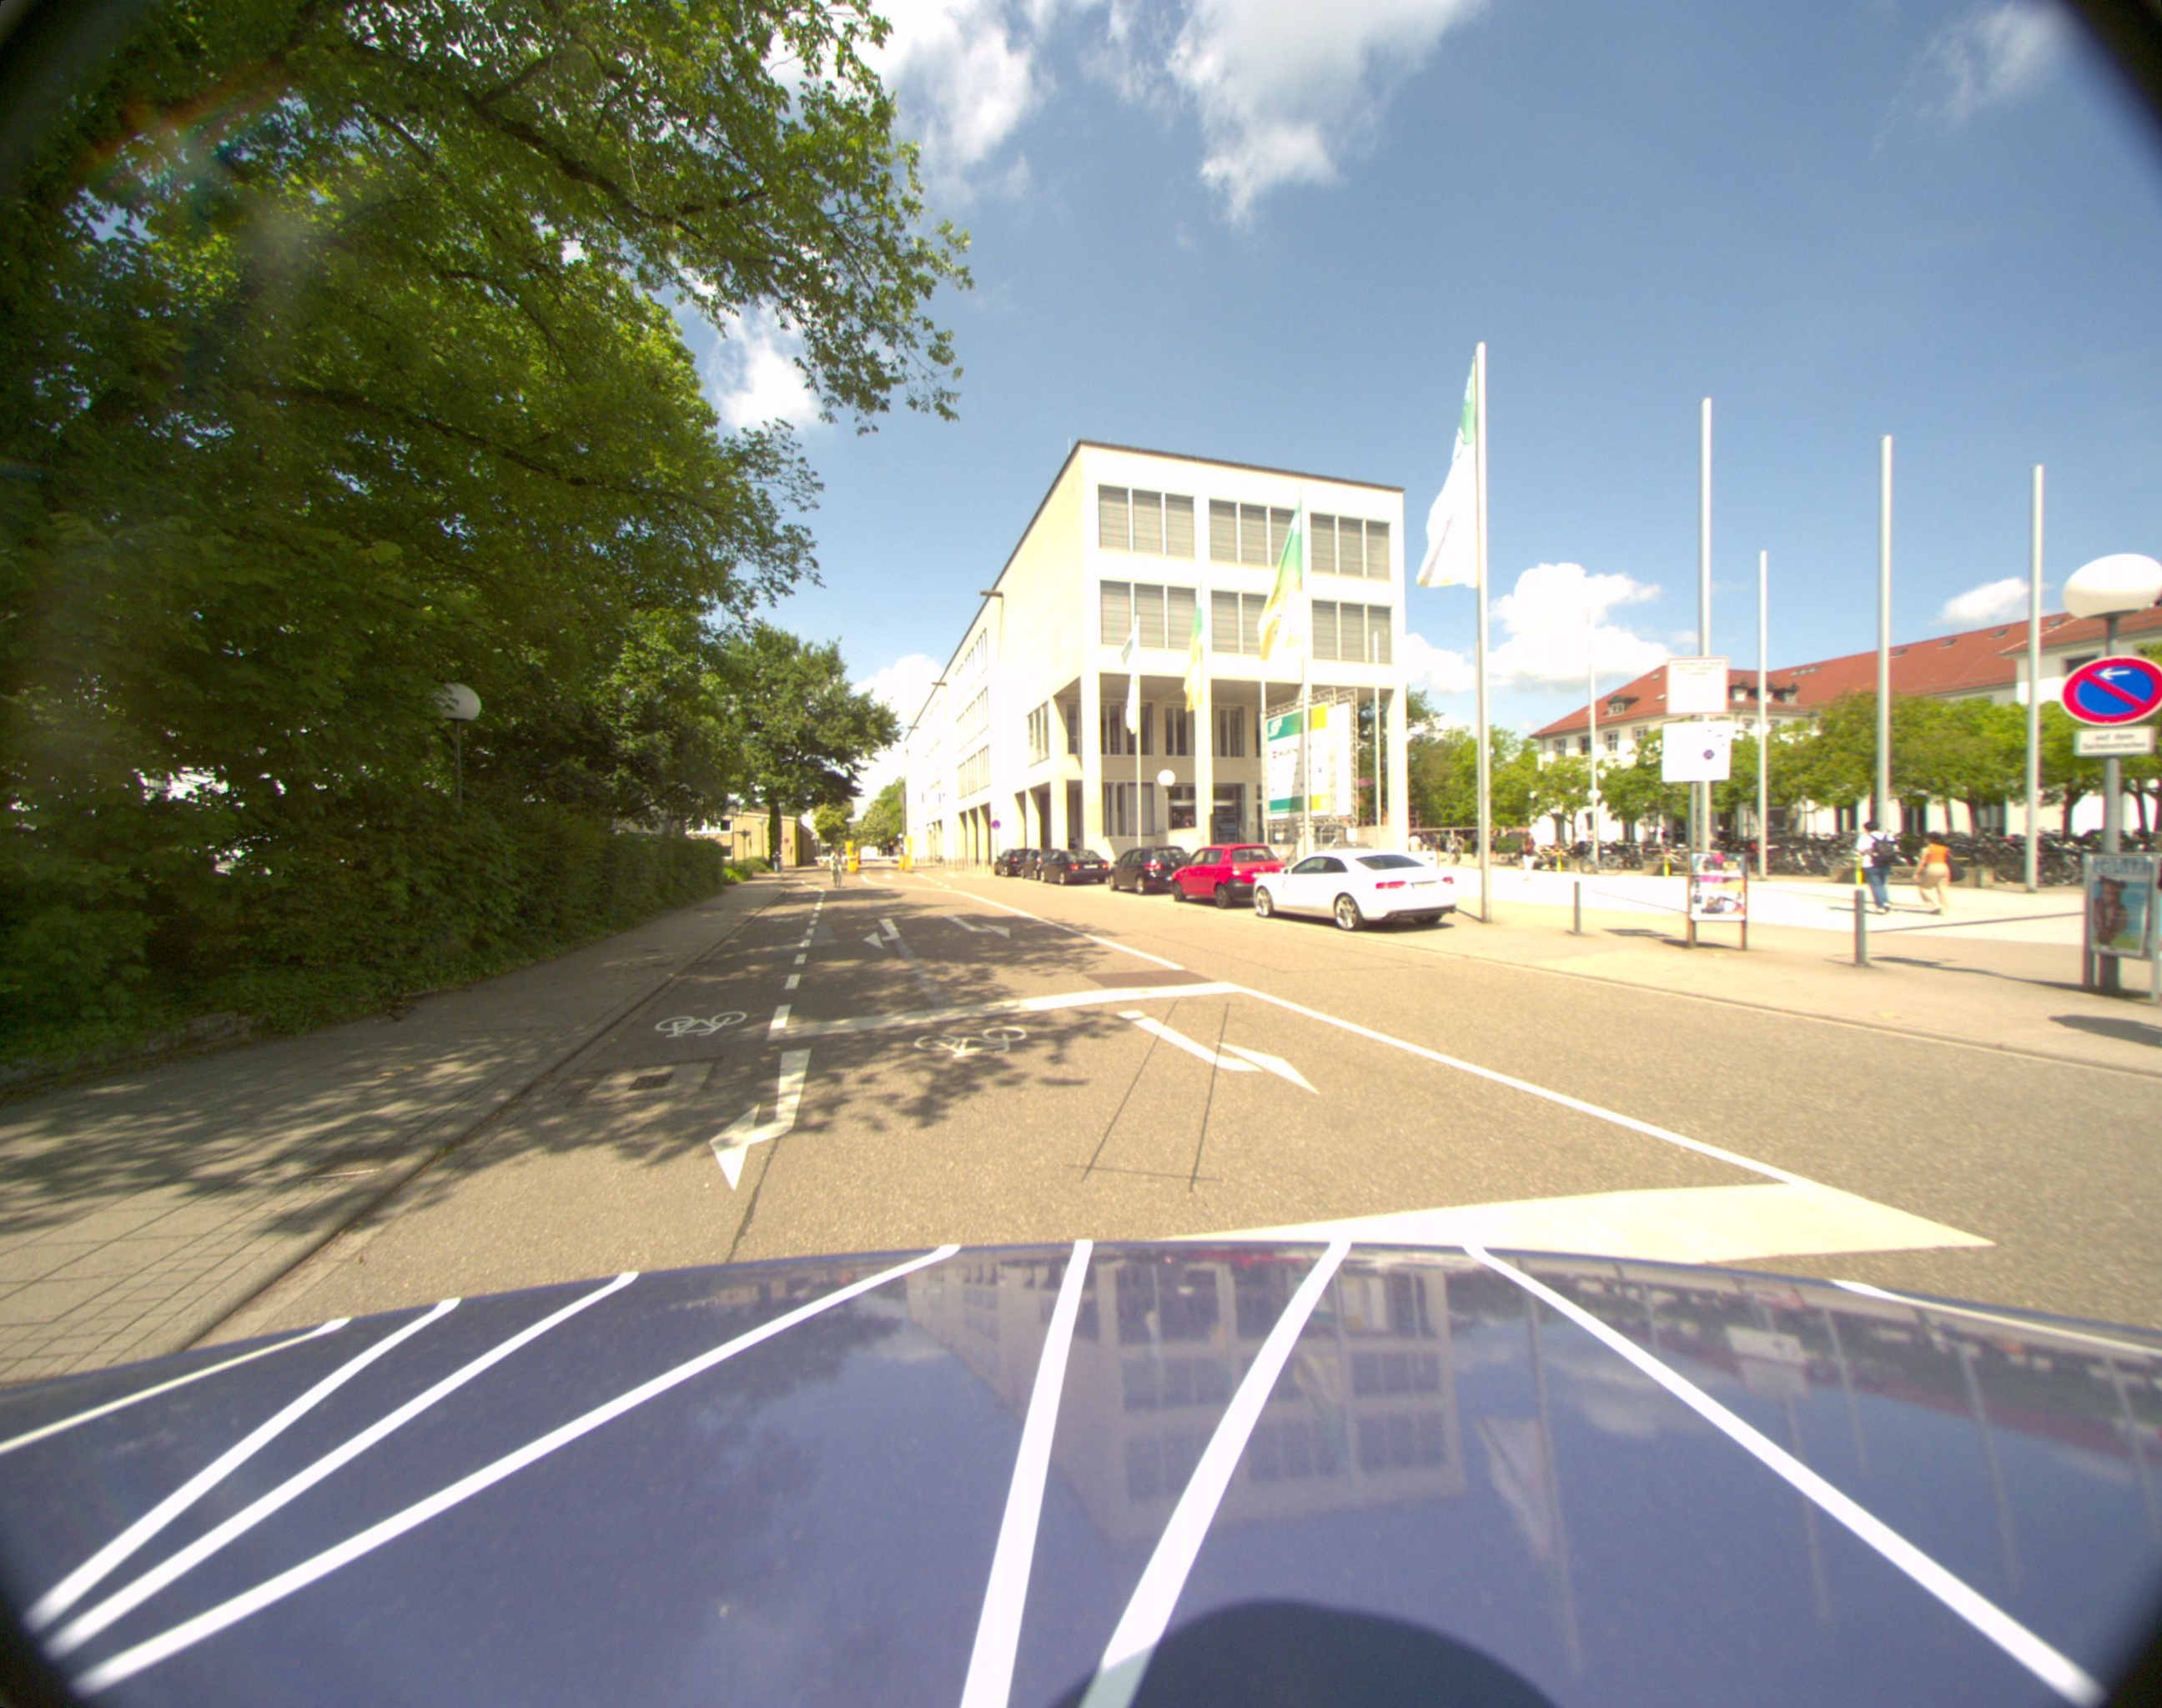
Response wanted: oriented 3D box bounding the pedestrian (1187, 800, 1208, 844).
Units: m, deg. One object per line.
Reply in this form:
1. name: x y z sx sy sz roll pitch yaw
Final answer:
1. pedestrian: 6.397 -1.741 41.711 0.761 2.408 0.736 -3 2 -44

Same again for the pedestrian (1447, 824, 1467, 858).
1. pedestrian: 22.797 -0.802 46.023 0.761 2.002 0.735 -2 2 -12

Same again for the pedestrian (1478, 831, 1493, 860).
1. pedestrian: 28.464 -0.619 53.417 0.759 2.002 0.738 0 2 40

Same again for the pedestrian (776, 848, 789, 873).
1. pedestrian: -20.238 0.433 51.528 0.742 1.665 1.254 -2 1 -21

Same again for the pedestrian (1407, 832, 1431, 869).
1. pedestrian: 16.553 -0.169 37.164 0.739 1.747 0.758 -2 2 -27

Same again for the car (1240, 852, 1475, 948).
1. car: 4.936 0.716 14.388 1.683 1.387 4.655 -4 2 -17

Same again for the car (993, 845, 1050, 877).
1. car: -3.199 0.334 39.981 1.866 1.459 4.711 -4 2 -17

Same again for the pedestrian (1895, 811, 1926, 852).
1. pedestrian: 41.759 -1.130 38.256 0.711 2.002 0.812 -2 1 -11

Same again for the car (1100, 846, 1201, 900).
1. car: 2.092 0.539 24.261 1.754 1.459 4.190 -4 2 -16

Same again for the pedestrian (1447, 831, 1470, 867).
1. pedestrian: 18.851 -0.248 37.925 0.739 1.747 0.757 -3 2 -41

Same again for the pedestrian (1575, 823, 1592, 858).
1. pedestrian: 29.506 -0.776 44.615 0.759 2.002 0.738 0 2 40

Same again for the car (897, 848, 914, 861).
1. car: -22.515 0.059 97.645 1.733 1.527 4.398 -4 2 -17

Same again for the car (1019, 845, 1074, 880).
1. car: -1.684 0.381 35.843 1.645 1.459 3.700 -4 2 -17

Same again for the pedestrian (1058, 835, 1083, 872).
1. pedestrian: -0.586 -0.060 42.168 0.988 2.002 1.162 -2 1 -21

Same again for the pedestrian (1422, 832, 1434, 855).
1. pedestrian: 29.761 -0.929 65.152 0.815 1.923 0.738 -1 2 38

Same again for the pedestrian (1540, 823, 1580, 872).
1. pedestrian: 19.435 -0.252 30.817 0.989 1.929 0.943 -2 1 -21

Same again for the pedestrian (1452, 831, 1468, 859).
1. pedestrian: 28.067 -0.671 56.322 0.888 2.002 0.738 0 2 40

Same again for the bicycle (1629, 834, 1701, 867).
1. bicycle: 26.397 -0.178 34.438 1.147 1.403 2.951 -2 1 5

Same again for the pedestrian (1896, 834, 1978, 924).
1. pedestrian: 16.303 0.462 14.482 0.846 1.642 0.745 -2 1 -16

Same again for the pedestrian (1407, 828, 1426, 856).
1. pedestrian: 20.325 -0.727 46.031 0.733 1.604 0.735 -2 2 -14

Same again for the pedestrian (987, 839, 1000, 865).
1. pedestrian: -6.985 -0.138 60.423 0.859 2.002 0.880 -2 2 -15

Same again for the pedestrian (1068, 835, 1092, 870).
1. pedestrian: -0.069 -0.098 43.678 0.988 2.002 1.162 -2 1 -21

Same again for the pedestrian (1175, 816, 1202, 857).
1. pedestrian: 5.350 -0.887 37.996 0.981 2.002 0.909 -3 2 -17

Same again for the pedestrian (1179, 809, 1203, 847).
1. pedestrian: 5.869 -1.397 40.606 0.747 2.002 0.978 -3 2 -38

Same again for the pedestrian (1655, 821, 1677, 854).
1. pedestrian: 39.157 -1.079 50.877 0.973 2.187 0.961 -2 1 -40

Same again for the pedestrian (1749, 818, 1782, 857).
1. pedestrian: 39.344 -0.939 43.669 1.025 2.187 1.040 -2 1 -19

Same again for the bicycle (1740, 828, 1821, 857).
1. bicycle: 35.823 -0.603 38.991 1.148 1.403 2.948 -2 1 -9

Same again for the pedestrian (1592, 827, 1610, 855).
1. pedestrian: 37.009 -0.928 54.095 0.888 2.002 0.737 -1 2 17

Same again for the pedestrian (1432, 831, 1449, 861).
1. pedestrian: 24.012 -0.516 50.760 0.888 1.974 0.840 -1 2 16

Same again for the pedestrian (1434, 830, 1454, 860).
1. pedestrian: 21.619 -0.558 45.253 0.760 1.763 0.737 -2 1 -19

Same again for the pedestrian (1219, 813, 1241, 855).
1. pedestrian: 7.729 -1.014 39.323 0.707 2.133 0.803 -3 2 -38

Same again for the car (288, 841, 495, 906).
1. car: -23.702 0.615 26.375 4.844 2.002 2.058 -1 1 -17

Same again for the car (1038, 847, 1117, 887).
1. car: -0.242 0.454 30.702 1.866 1.370 5.008 -4 2 -16

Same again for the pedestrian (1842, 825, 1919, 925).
1. pedestrian: 15.384 0.382 14.633 0.722 1.848 0.769 -2 1 -16

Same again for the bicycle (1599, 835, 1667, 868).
1. bicycle: 25.178 -0.144 34.761 1.147 1.403 2.951 -2 1 5

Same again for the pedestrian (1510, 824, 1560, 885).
1. pedestrian: 15.306 0.014 25.647 1.060 2.002 0.986 -2 1 -21

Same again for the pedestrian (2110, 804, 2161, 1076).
1. pedestrian: 7.574 0.582 4.886 0.720 1.840 1.090 -2 2 27

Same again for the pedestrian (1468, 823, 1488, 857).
1. pedestrian: 23.694 -0.817 45.335 0.761 2.002 0.735 -2 2 -12

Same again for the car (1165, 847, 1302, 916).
1. car: 3.687 0.597 19.125 1.683 1.459 3.904 -4 2 -17

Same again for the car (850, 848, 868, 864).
1. car: -26.548 0.256 90.839 2.001 1.805 3.994 -1 1 -16

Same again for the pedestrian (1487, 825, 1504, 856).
1. pedestrian: 24.863 -0.791 45.553 0.759 1.827 0.701 -1 2 38
